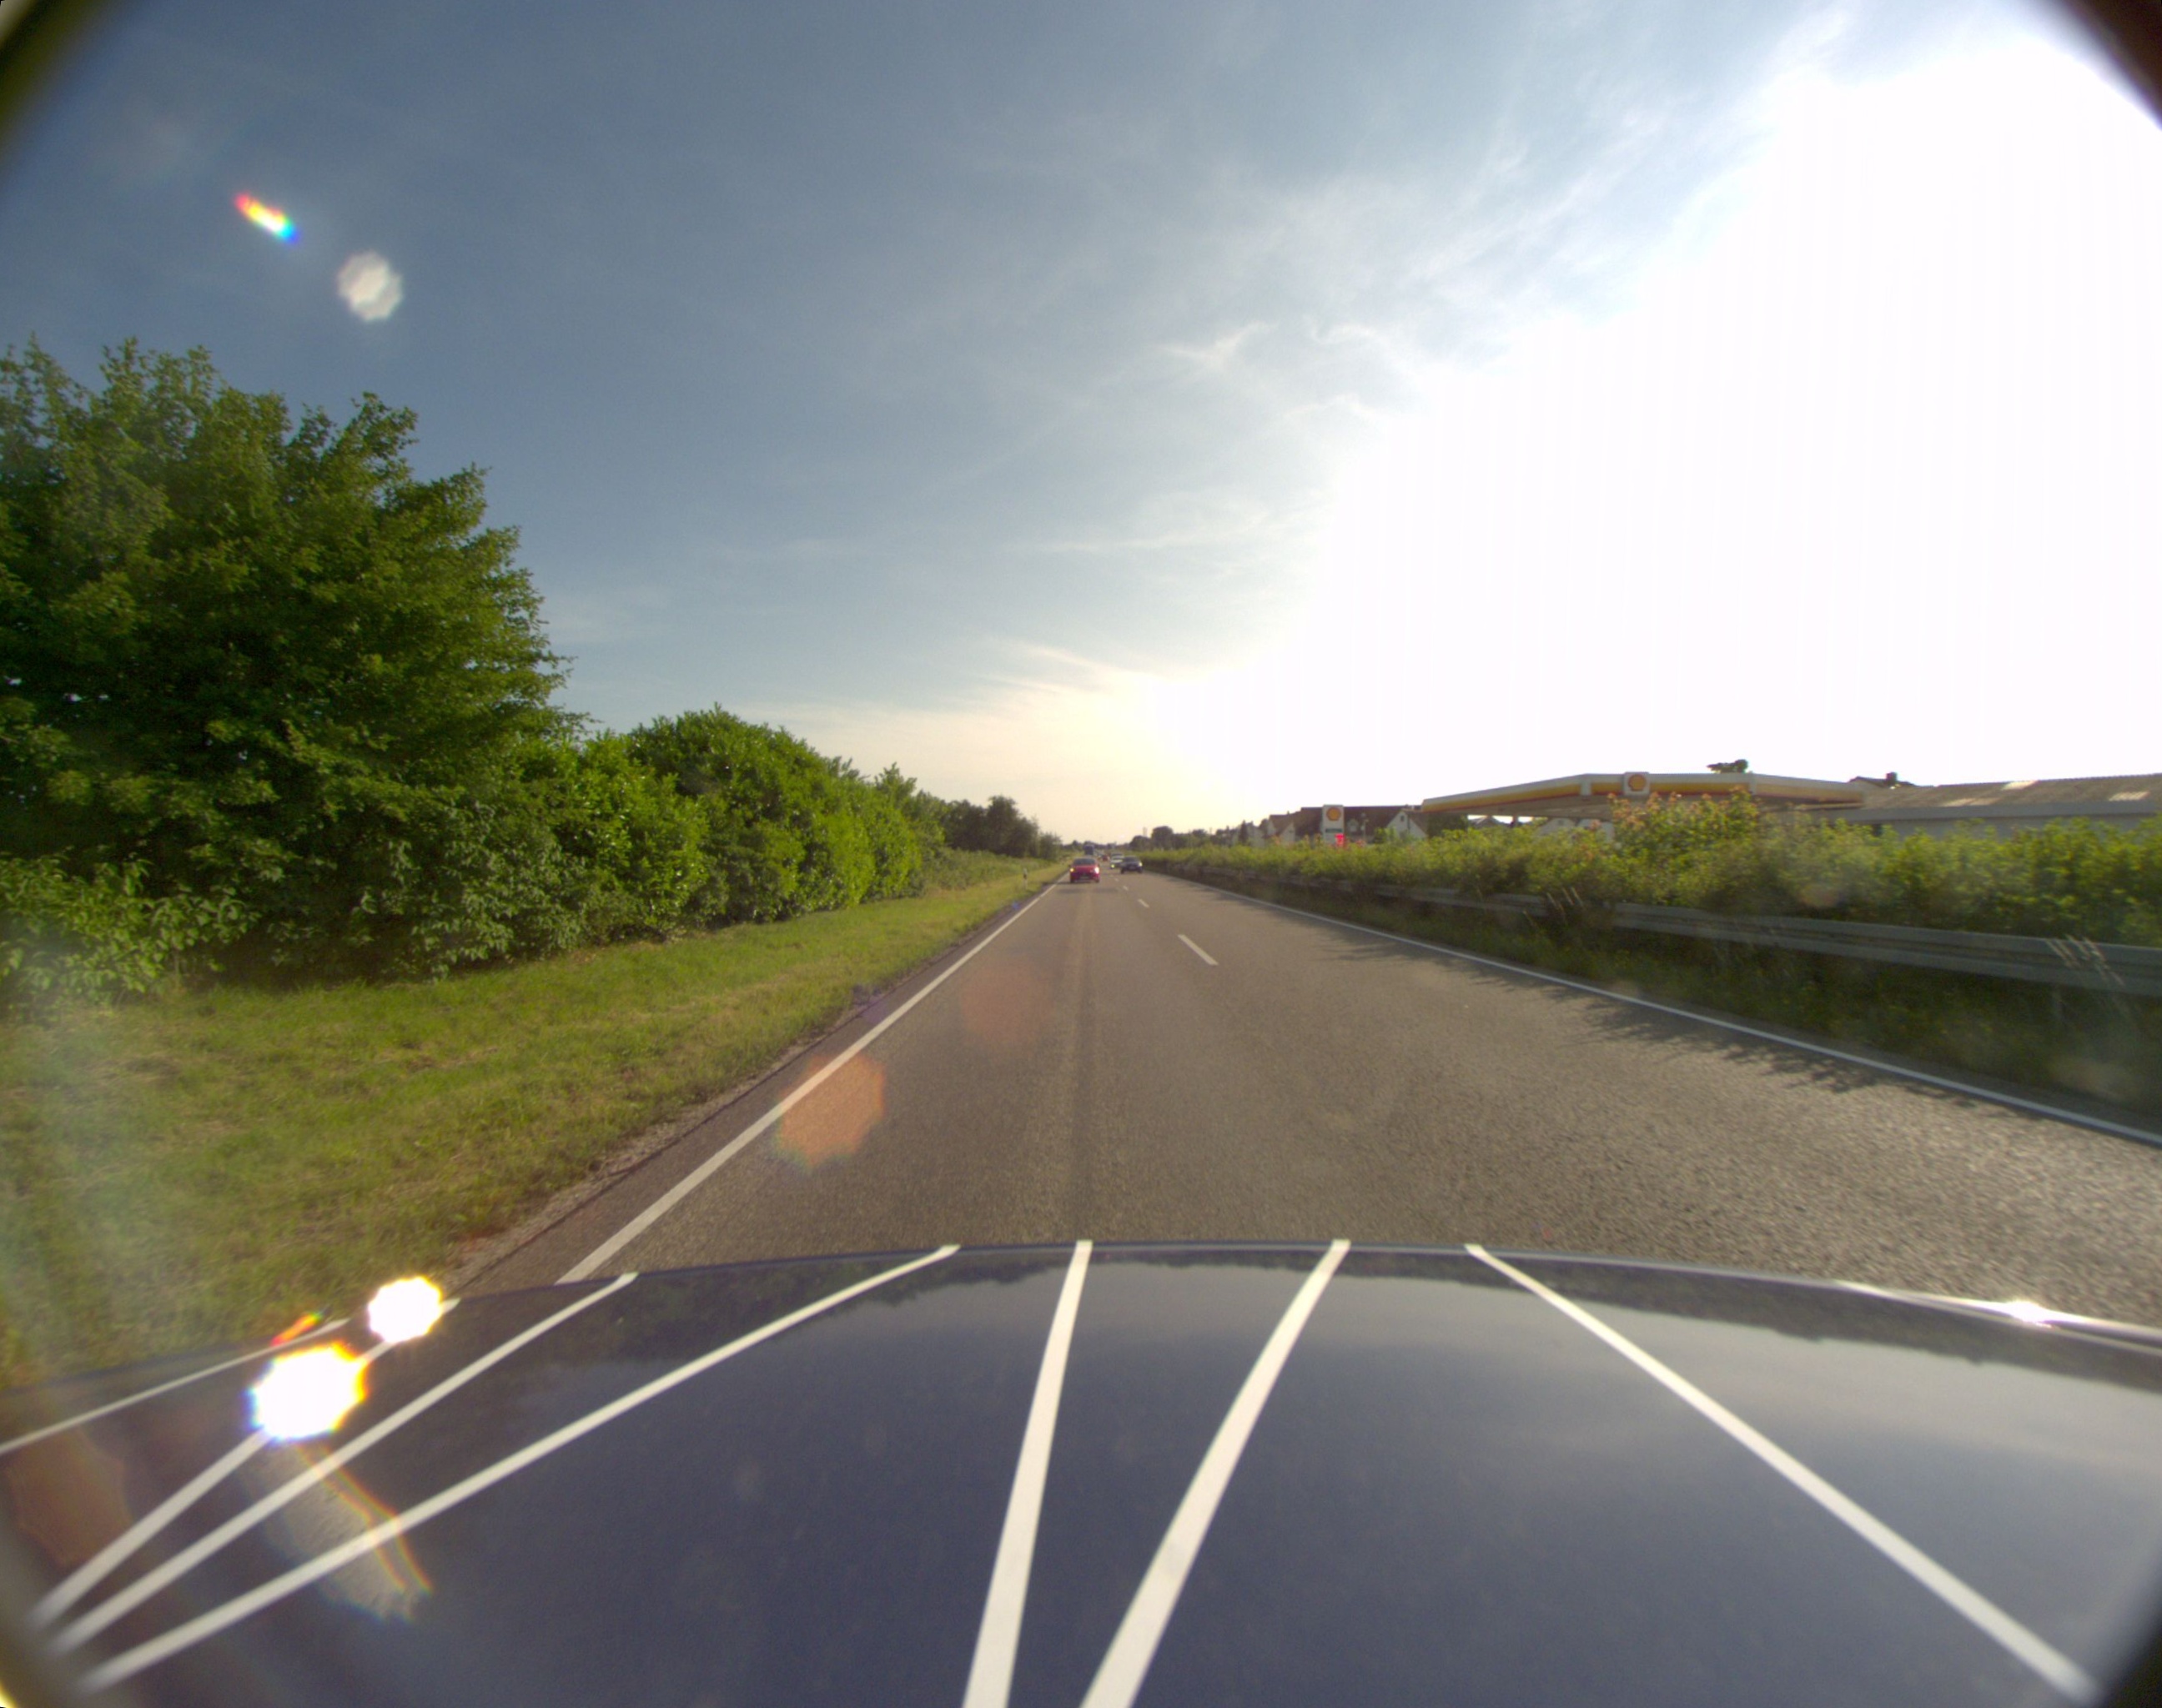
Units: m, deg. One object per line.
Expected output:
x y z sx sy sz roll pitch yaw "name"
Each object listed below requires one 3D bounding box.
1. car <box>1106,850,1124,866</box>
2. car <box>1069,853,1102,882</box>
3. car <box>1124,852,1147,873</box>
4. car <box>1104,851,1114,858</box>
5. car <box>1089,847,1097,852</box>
3.950 0.403 88.601 1.998 1.762 4.000 -1 1 2 "car"
0.306 0.765 45.309 1.821 1.565 4.000 -1 1 2 "car"
4.599 0.684 64.497 1.693 1.695 4.000 -1 1 2 "car"
6.034 0.149 162.186 1.998 1.412 4.000 -1 1 2 "car"
3.425 -1.223 213.515 1.998 1.412 4.000 -1 1 2 "car"
